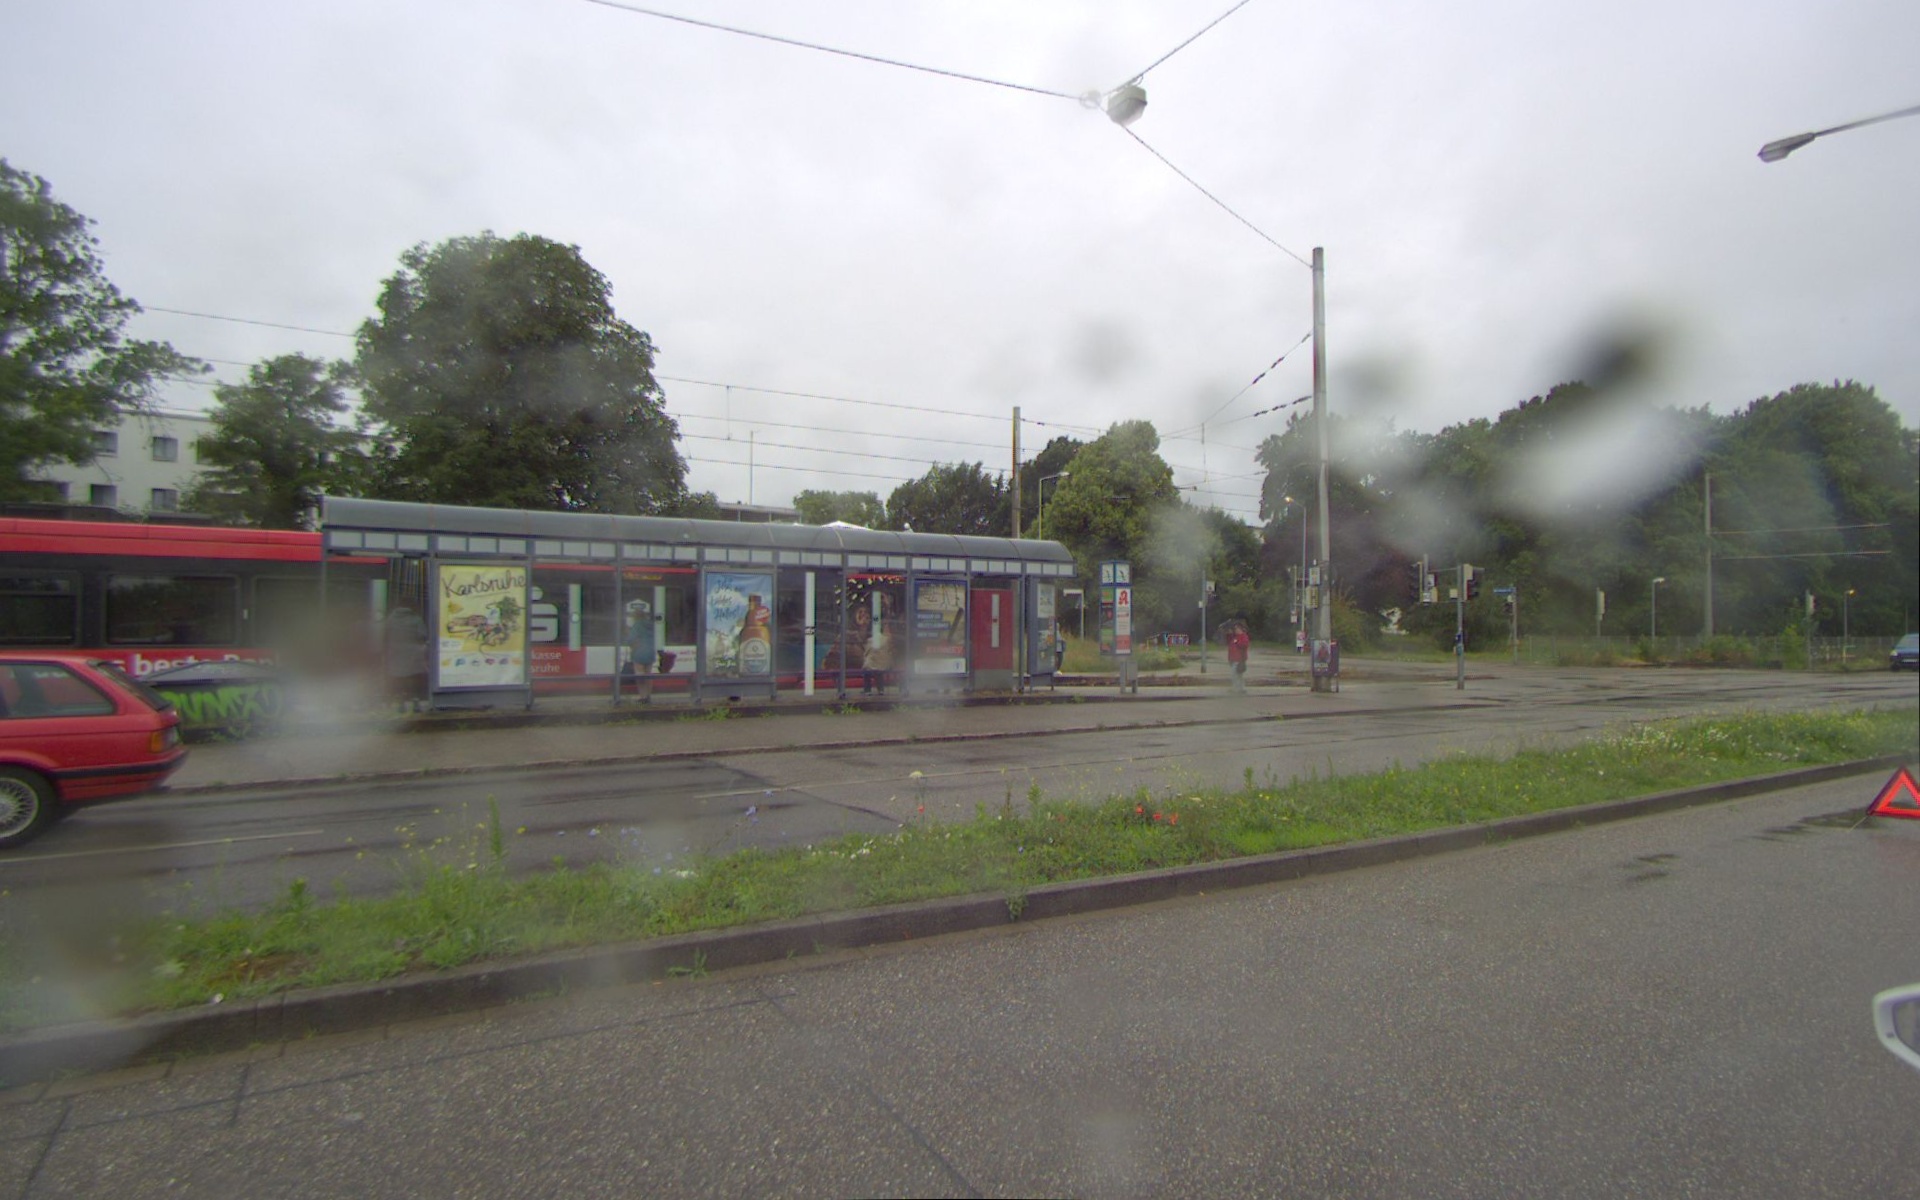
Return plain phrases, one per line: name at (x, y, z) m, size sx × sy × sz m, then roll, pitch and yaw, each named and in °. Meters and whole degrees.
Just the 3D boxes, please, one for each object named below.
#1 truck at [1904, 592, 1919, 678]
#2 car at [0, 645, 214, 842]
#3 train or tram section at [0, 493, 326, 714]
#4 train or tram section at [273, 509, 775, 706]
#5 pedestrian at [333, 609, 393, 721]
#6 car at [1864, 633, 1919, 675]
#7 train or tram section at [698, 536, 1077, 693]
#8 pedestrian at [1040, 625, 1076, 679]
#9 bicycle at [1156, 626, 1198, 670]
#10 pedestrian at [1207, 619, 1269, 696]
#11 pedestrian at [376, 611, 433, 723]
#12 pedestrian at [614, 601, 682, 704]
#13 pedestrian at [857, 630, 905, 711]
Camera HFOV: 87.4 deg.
truck at (52.339, 1.893, 51.441) m, size 10.293 × 4.223 × 3.366 m, roll 2°, pitch 0°, yaw -33°
car at (-8.080, 1.039, 7.233) m, size 4.206 × 1.378 × 1.671 m, roll 1°, pitch -4°, yaw -33°
train or tram section at (-16.650, 0.074, 16.711) m, size 10.143 × 3.445 × 3.515 m, roll 1°, pitch -2°, yaw -31°
train or tram section at (-8.912, 0.259, 21.408) m, size 9.172 × 3.435 × 3.515 m, roll 1°, pitch -2°, yaw -31°
pedestrian at (-8.638, 0.928, 14.557) m, size 0.591 × 1.583 × 0.521 m, roll 2°, pitch 0°, yaw -17°
car at (43.519, 2.455, 45.965) m, size 4.475 × 1.732 × 1.983 m, roll 2°, pitch 0°, yaw -31°
train or tram section at (-1.687, 0.443, 25.835) m, size 9.172 × 3.434 × 3.515 m, roll 1°, pitch -2°, yaw -31°
pedestrian at (3.130, 1.656, 32.156) m, size 0.795 × 1.679 × 0.776 m, roll 2°, pitch 0°, yaw -31°
bicycle at (8.828, 1.934, 40.837) m, size 1.714 × 1.784 × 0.637 m, roll 1°, pitch -1°, yaw -31°
pedestrian at (6.359, 1.297, 22.993) m, size 0.985 × 1.698 × 0.919 m, roll 2°, pitch 0°, yaw -31°
pedestrian at (-8.000, 0.955, 14.475) m, size 0.591 × 1.583 × 0.443 m, roll 2°, pitch 0°, yaw -17°
pedestrian at (-5.112, 0.849, 16.461) m, size 0.917 × 1.618 × 0.801 m, roll 1°, pitch -1°, yaw -28°
pedestrian at (-1.470, 1.287, 18.620) m, size 0.691 × 1.472 × 0.622 m, roll 1°, pitch -1°, yaw -29°
